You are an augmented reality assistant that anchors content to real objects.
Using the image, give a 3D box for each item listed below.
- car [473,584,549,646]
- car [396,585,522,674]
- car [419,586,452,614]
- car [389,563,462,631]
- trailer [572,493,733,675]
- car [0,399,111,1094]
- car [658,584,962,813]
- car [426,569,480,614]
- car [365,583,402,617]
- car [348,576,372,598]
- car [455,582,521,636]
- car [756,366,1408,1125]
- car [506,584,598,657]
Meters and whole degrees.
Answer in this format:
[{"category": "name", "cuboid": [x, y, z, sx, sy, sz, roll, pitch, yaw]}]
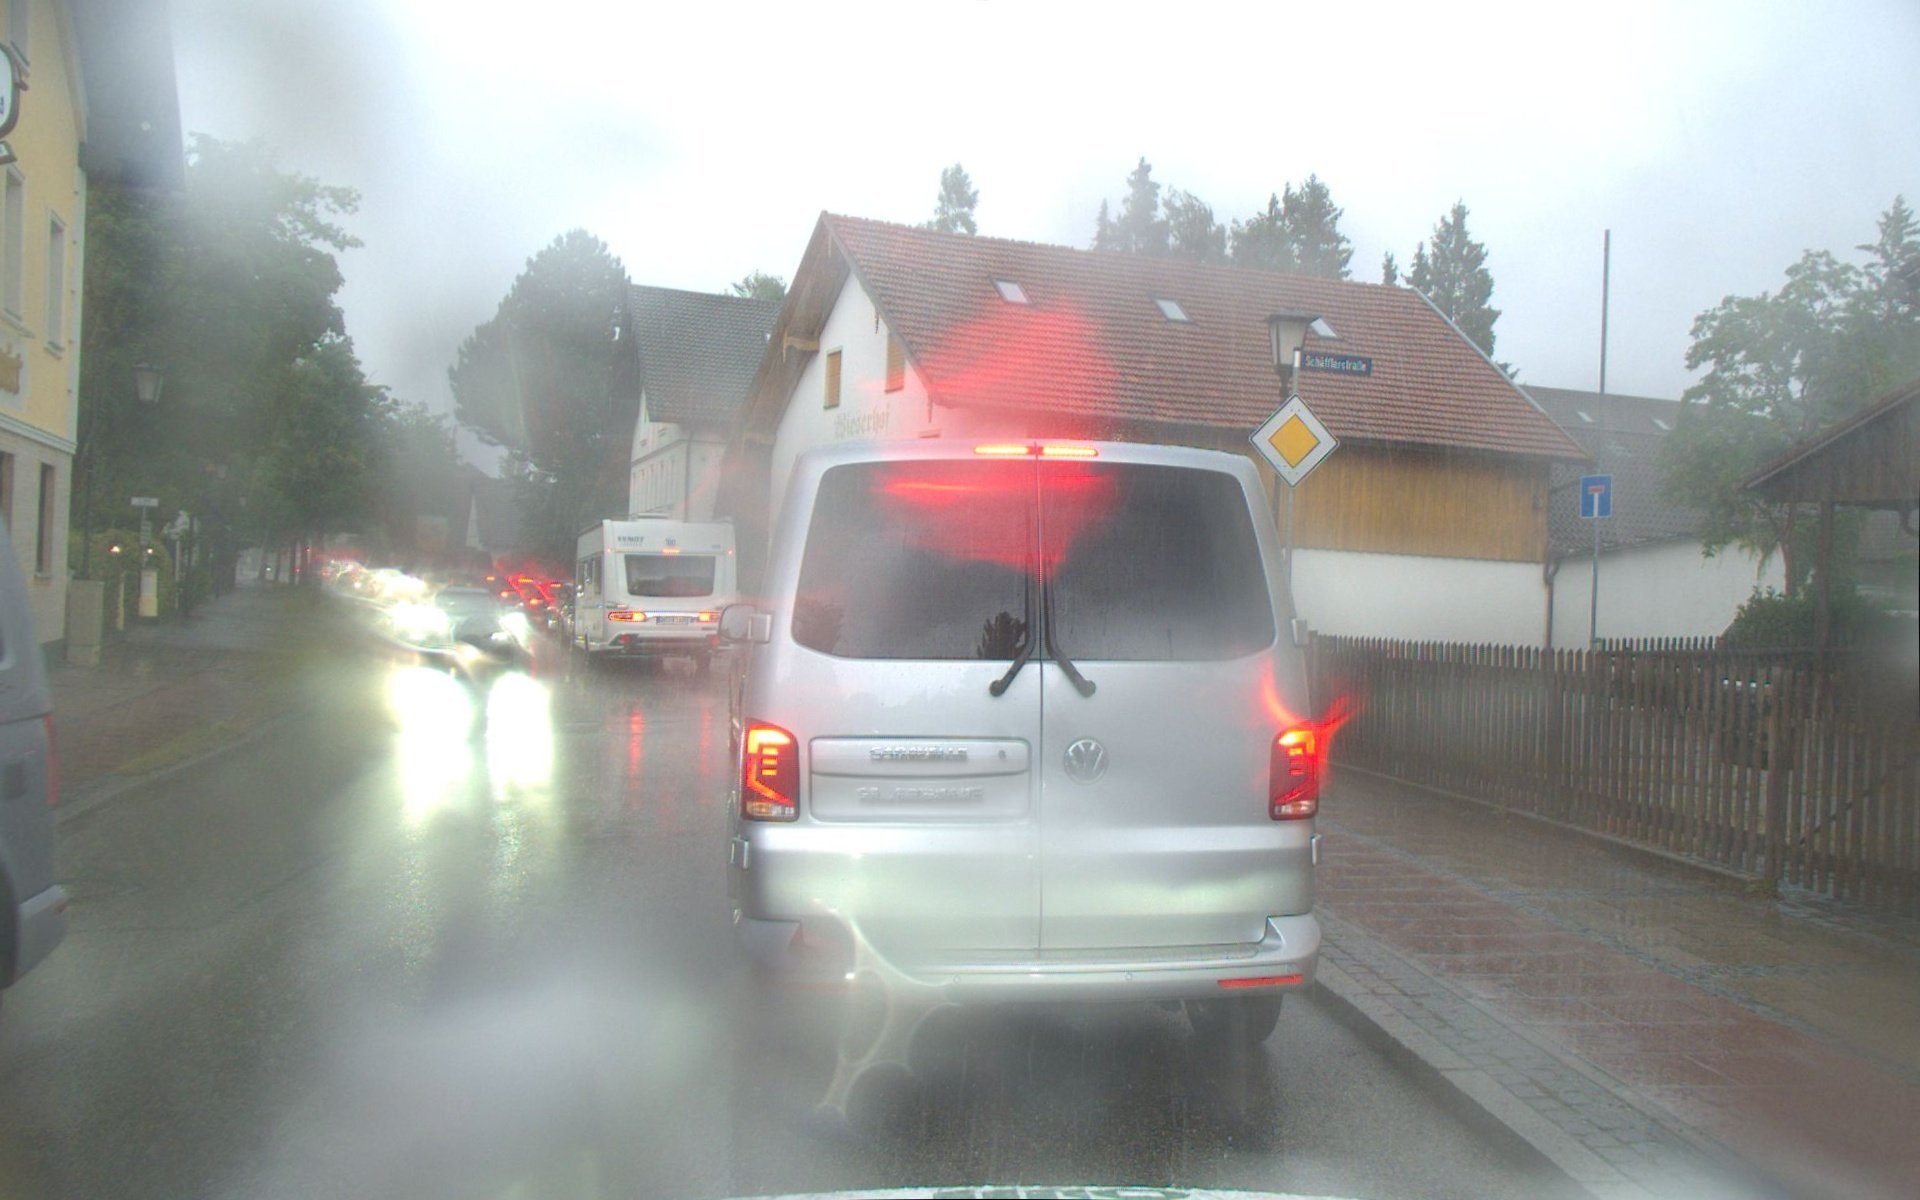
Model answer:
[{"category": "car", "cuboid": [-15.857, 0.487, 58.214, 2.137, 1.932, 4.985, 3, 1, -20]}, {"category": "car", "cuboid": [-8.815, 0.454, 28.879, 1.835, 1.382, 4.456, 0, 1, -21]}, {"category": "car", "cuboid": [-40.044, -0.034, 126.178, 2.137, 1.932, 4.985, 3, 1, -20]}, {"category": "car", "cuboid": [-15.251, -0.098, 47.156, 1.834, 1.788, 4.459, -2, 1, -18]}, {"category": "trailer", "cuboid": [-5.735, -0.256, 30.153, 2.234, 2.955, 6.104, 1, 0, -16]}, {"category": "car", "cuboid": [-3.532, 0.414, 3.089, 1.814, 2.006, 4.696, 0, 0, -5]}, {"category": "car", "cuboid": [-1.489, 0.688, 14.456, 1.682, 1.611, 4.662, -1, 1, -18]}, {"category": "car", "cuboid": [-23.835, -0.427, 77.611, 2.137, 1.932, 4.985, 3, 1, -20]}, {"category": "car", "cuboid": [-32.024, 0.006, 91.876, 1.835, 1.788, 4.458, -2, 1, -19]}, {"category": "car", "cuboid": [-50.067, -1.097, 138.081, 1.835, 1.788, 4.458, -2, 1, -19]}, {"category": "car", "cuboid": [-18.908, 0.328, 66.132, 2.137, 1.932, 4.985, 3, 1, -20]}, {"category": "car", "cuboid": [0.169, 0.390, 6.951, 1.741, 1.997, 5.070, 1, 0, -4]}, {"category": "car", "cuboid": [-12.430, 0.577, 50.212, 2.137, 1.932, 4.985, 3, 1, -20]}]
